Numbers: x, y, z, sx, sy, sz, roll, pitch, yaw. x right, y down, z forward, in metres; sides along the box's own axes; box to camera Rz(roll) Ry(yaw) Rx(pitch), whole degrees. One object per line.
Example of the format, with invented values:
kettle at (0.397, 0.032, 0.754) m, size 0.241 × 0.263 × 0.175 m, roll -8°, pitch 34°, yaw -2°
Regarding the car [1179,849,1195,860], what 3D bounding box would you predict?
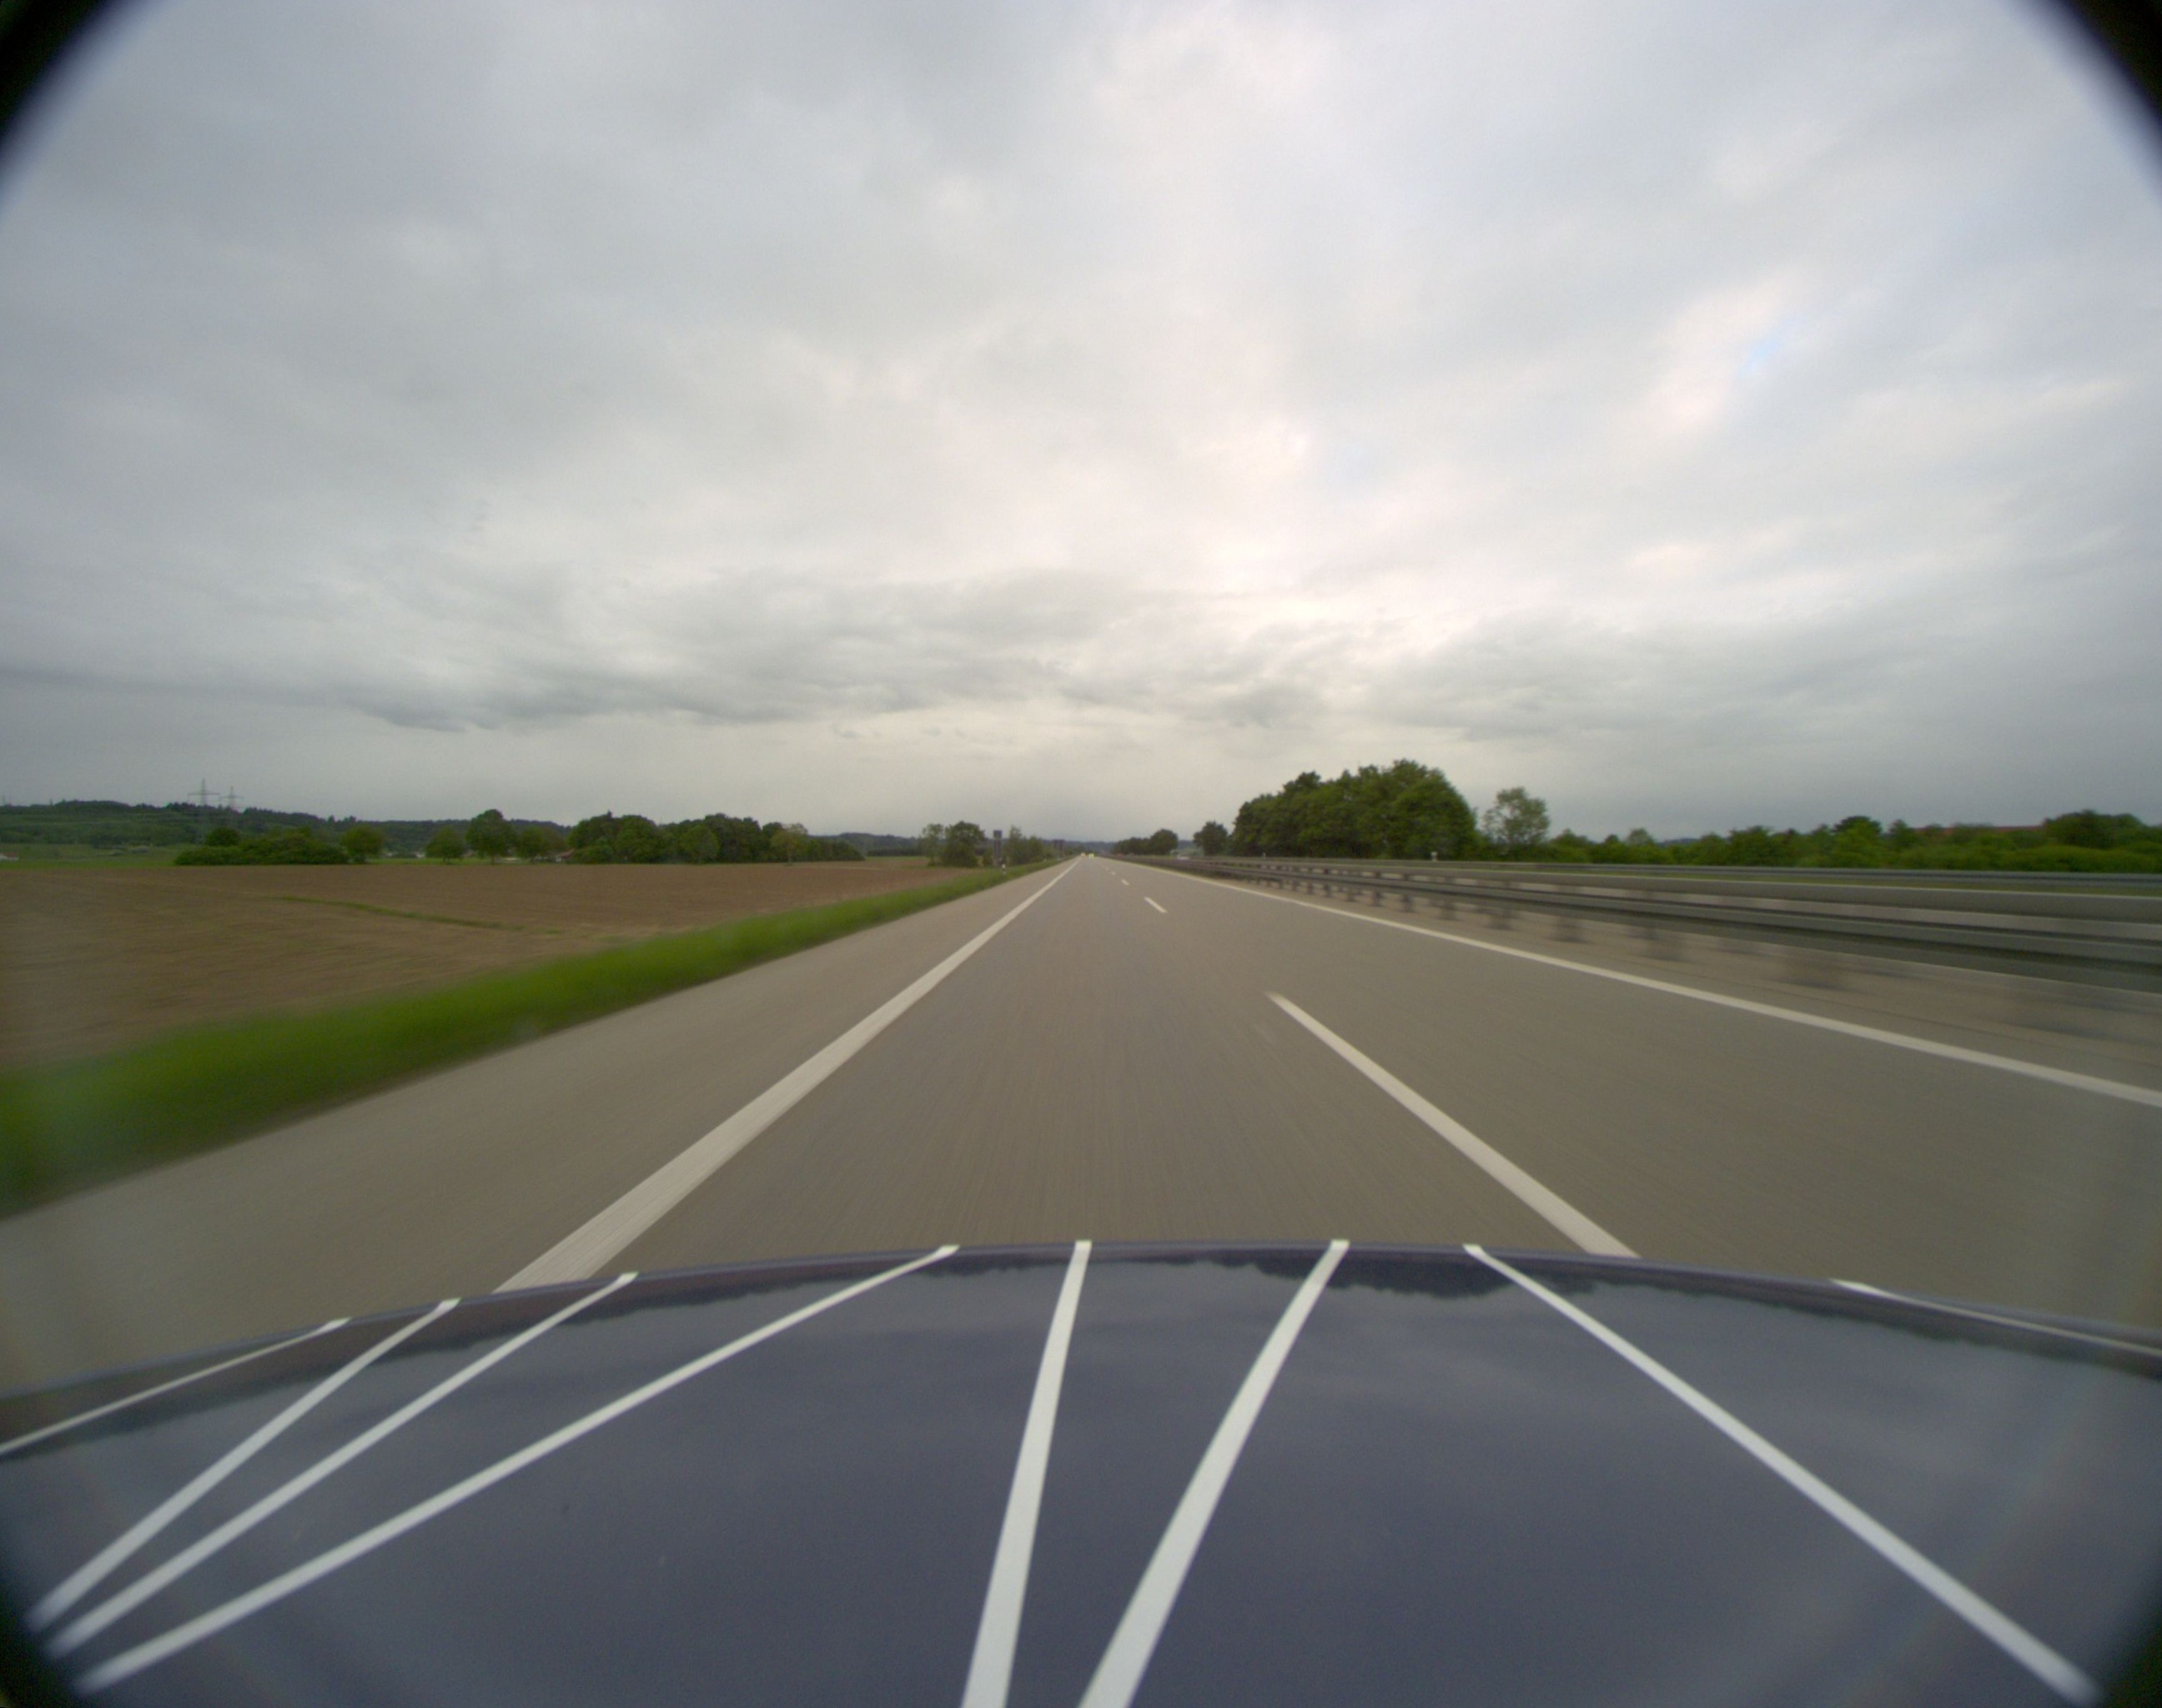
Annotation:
car at (15.539, 0.075, 111.767) m, size 1.745 × 1.565 × 4.856 m, roll -2°, pitch 0°, yaw 1°
